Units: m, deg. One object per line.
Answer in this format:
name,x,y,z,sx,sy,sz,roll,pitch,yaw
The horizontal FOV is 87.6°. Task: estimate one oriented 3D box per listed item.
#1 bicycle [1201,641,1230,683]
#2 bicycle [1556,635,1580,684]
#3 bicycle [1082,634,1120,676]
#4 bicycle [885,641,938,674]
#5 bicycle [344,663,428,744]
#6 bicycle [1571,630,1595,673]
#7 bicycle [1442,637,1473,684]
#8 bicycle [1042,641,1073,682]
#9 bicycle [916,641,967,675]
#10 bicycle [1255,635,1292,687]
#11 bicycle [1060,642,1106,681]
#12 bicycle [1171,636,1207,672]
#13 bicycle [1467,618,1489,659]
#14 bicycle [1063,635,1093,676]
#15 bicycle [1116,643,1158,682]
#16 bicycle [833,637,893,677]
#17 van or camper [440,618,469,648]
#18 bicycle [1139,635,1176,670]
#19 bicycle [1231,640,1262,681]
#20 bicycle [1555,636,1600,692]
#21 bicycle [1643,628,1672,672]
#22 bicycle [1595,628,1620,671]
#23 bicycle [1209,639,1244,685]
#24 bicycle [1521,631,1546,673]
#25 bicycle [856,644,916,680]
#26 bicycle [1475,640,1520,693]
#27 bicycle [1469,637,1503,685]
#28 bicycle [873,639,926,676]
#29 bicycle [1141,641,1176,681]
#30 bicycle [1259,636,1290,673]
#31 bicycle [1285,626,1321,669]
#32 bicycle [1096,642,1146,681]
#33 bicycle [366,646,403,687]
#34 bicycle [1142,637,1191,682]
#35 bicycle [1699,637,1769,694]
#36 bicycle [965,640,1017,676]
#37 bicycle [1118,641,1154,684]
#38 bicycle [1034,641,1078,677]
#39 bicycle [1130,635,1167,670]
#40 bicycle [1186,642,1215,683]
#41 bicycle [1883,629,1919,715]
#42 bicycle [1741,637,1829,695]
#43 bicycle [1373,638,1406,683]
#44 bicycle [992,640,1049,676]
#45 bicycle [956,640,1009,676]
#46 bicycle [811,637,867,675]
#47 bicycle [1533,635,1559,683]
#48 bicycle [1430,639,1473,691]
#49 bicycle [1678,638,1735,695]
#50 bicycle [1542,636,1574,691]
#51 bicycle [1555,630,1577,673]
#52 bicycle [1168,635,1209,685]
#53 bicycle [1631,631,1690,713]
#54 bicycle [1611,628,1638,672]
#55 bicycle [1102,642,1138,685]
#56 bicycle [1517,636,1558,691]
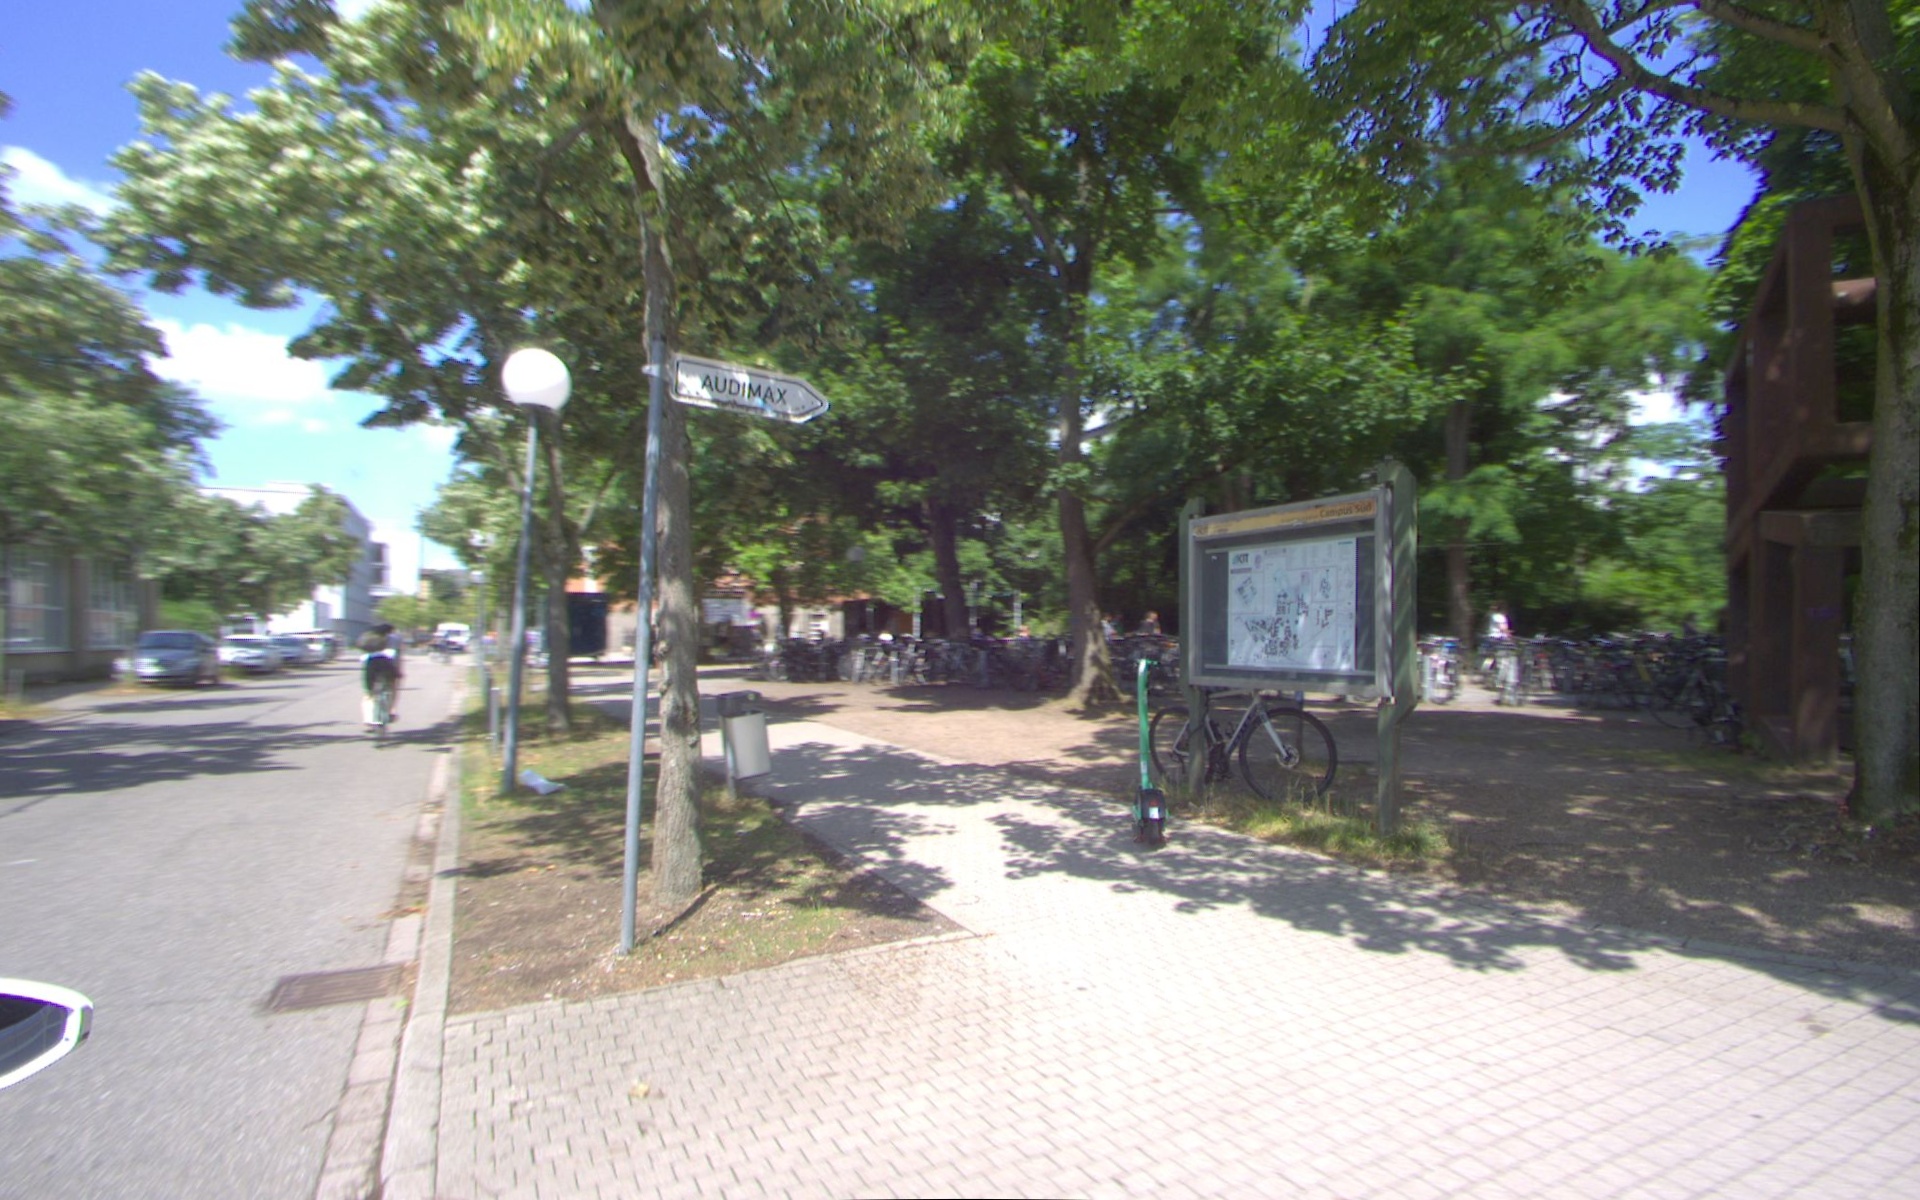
bicycle,6.529,1.569,25.503,0.372,0.991,1.898,-1,-2,24
bicycle,13.198,1.275,21.719,0.373,0.991,1.893,-2,-2,33
bicycle,3.577,1.375,25.310,0.470,0.991,1.899,-1,-2,23
bicycle,-1.537,1.839,32.114,0.474,0.991,1.886,-2,-2,44
bicycle,-7.981,1.412,13.994,0.697,1.005,1.906,3,-3,-21
bicycle,16.623,1.351,26.740,0.342,1.107,1.606,-1,-2,26
bicycle,11.231,1.354,22.584,0.373,0.991,1.893,-2,-2,33
bicycle,2.518,1.564,25.711,0.470,0.991,1.902,-1,-2,15
bicycle,-0.572,1.797,31.251,0.473,0.991,1.890,-2,-2,39
bicycle,7.108,1.358,22.672,0.471,1.096,1.897,-2,-2,27
bicycle,3.397,1.674,27.553,0.472,0.991,1.893,-2,-2,33
bicycle,7.496,1.761,32.707,0.344,1.107,1.596,-2,-2,44
bicycle,14.317,1.054,27.688,0.471,1.107,1.606,-2,-2,26
bicycle,3.028,1.391,25.563,0.470,0.991,1.902,-1,-2,15
bicycle,4.789,1.675,27.015,0.302,0.991,1.873,-2,-2,36
bicycle,-2.958,1.732,30.670,0.606,1.133,1.888,-2,-2,41
van or camper,-43.020,2.838,85.318,1.968,2.476,4.557,0,-3,-23
bicycle,6.552,1.740,33.154,0.473,1.107,1.741,-2,-2,37
bicycle,7.265,1.513,25.340,0.471,0.991,1.898,-2,-2,25
bicycle,12.085,1.238,19.632,0.470,1.036,1.739,-1,-2,23
bicycle,18.245,1.294,26.204,0.342,1.107,1.606,-1,-2,26
bicycle,17.356,1.322,26.835,0.342,1.107,1.606,-1,-2,26
bicycle,6.179,1.410,23.170,0.471,0.991,1.898,-2,-2,24
bicycle,15.544,1.395,27.153,0.471,1.107,1.606,-2,-2,26
bicycle,-2.191,1.827,29.894,0.606,0.991,1.888,-2,-2,41
bicycle,10.821,1.322,20.193,0.372,0.991,1.902,-1,-2,15
bicycle,11.797,1.347,22.451,0.472,0.991,1.893,-2,-2,33
bicycle,-1.970,1.868,32.918,0.474,1.158,1.886,-2,-2,44
bicycle,5.295,1.618,26.640,0.471,0.991,1.898,-2,-2,24
bicycle,9.711,1.665,30.893,0.472,1.107,1.602,-2,-2,34
bicycle,8.473,1.156,24.715,0.373,0.991,1.893,-2,-2,33
bicycle,4.395,1.675,27.315,0.437,0.991,1.889,-2,-2,40
bicycle,-15.305,1.752,26.662,0.799,1.015,2.114,-1,-1,-29
bicycle,4.972,1.408,24.012,0.472,0.991,1.893,-2,-2,33
bicycle,14.505,1.213,18.805,0.470,0.991,1.900,-1,-2,20
bicycle,0.935,1.701,29.654,0.473,0.991,1.889,-2,-2,40
bicycle,4.375,1.541,24.839,0.470,0.991,1.899,-1,-2,22
bicycle,2.766,1.683,28.800,0.528,0.991,1.896,-2,-2,29
bicycle,6.279,1.752,33.364,0.473,1.107,1.741,-2,-2,37
bicycle,6.189,1.597,25.738,0.372,0.991,1.898,-1,-2,24
bicycle,13.629,0.995,14.122,0.430,1.185,1.838,-1,-2,28
bicycle,15.169,1.184,18.459,0.470,0.991,1.902,-1,-2,14
bicycle,10.031,1.397,23.357,0.373,0.991,1.893,-2,-2,33
bicycle,1.786,1.668,29.154,0.606,0.991,1.888,-2,-2,41
bicycle,0.685,1.716,29.933,0.473,0.991,1.889,-2,-2,40
bicycle,-3.800,1.766,31.543,0.606,1.133,1.794,-2,-2,42
bicycle,12.853,1.280,21.955,0.373,0.991,1.893,-2,-2,33
bicycle,10.068,1.305,20.564,0.371,0.991,1.903,-1,-2,14
bicycle,14.015,1.235,18.831,0.471,0.991,1.898,-2,-2,25
bicycle,11.905,1.243,19.959,0.288,1.036,1.739,-1,-2,23
bicycle,16.294,1.364,26.930,0.342,1.107,1.606,-1,-2,26
bicycle,5.397,1.396,23.569,0.471,1.096,1.897,-2,-2,27
bicycle,10.850,1.081,15.552,0.407,1.185,1.840,-1,-1,24
bicycle,17.670,1.318,26.640,0.342,1.107,1.606,-1,-2,26
bicycle,4.012,1.563,24.993,0.470,0.991,1.899,-1,-2,22
bicycle,11.553,1.248,20.067,0.470,1.036,1.739,-1,-2,23
